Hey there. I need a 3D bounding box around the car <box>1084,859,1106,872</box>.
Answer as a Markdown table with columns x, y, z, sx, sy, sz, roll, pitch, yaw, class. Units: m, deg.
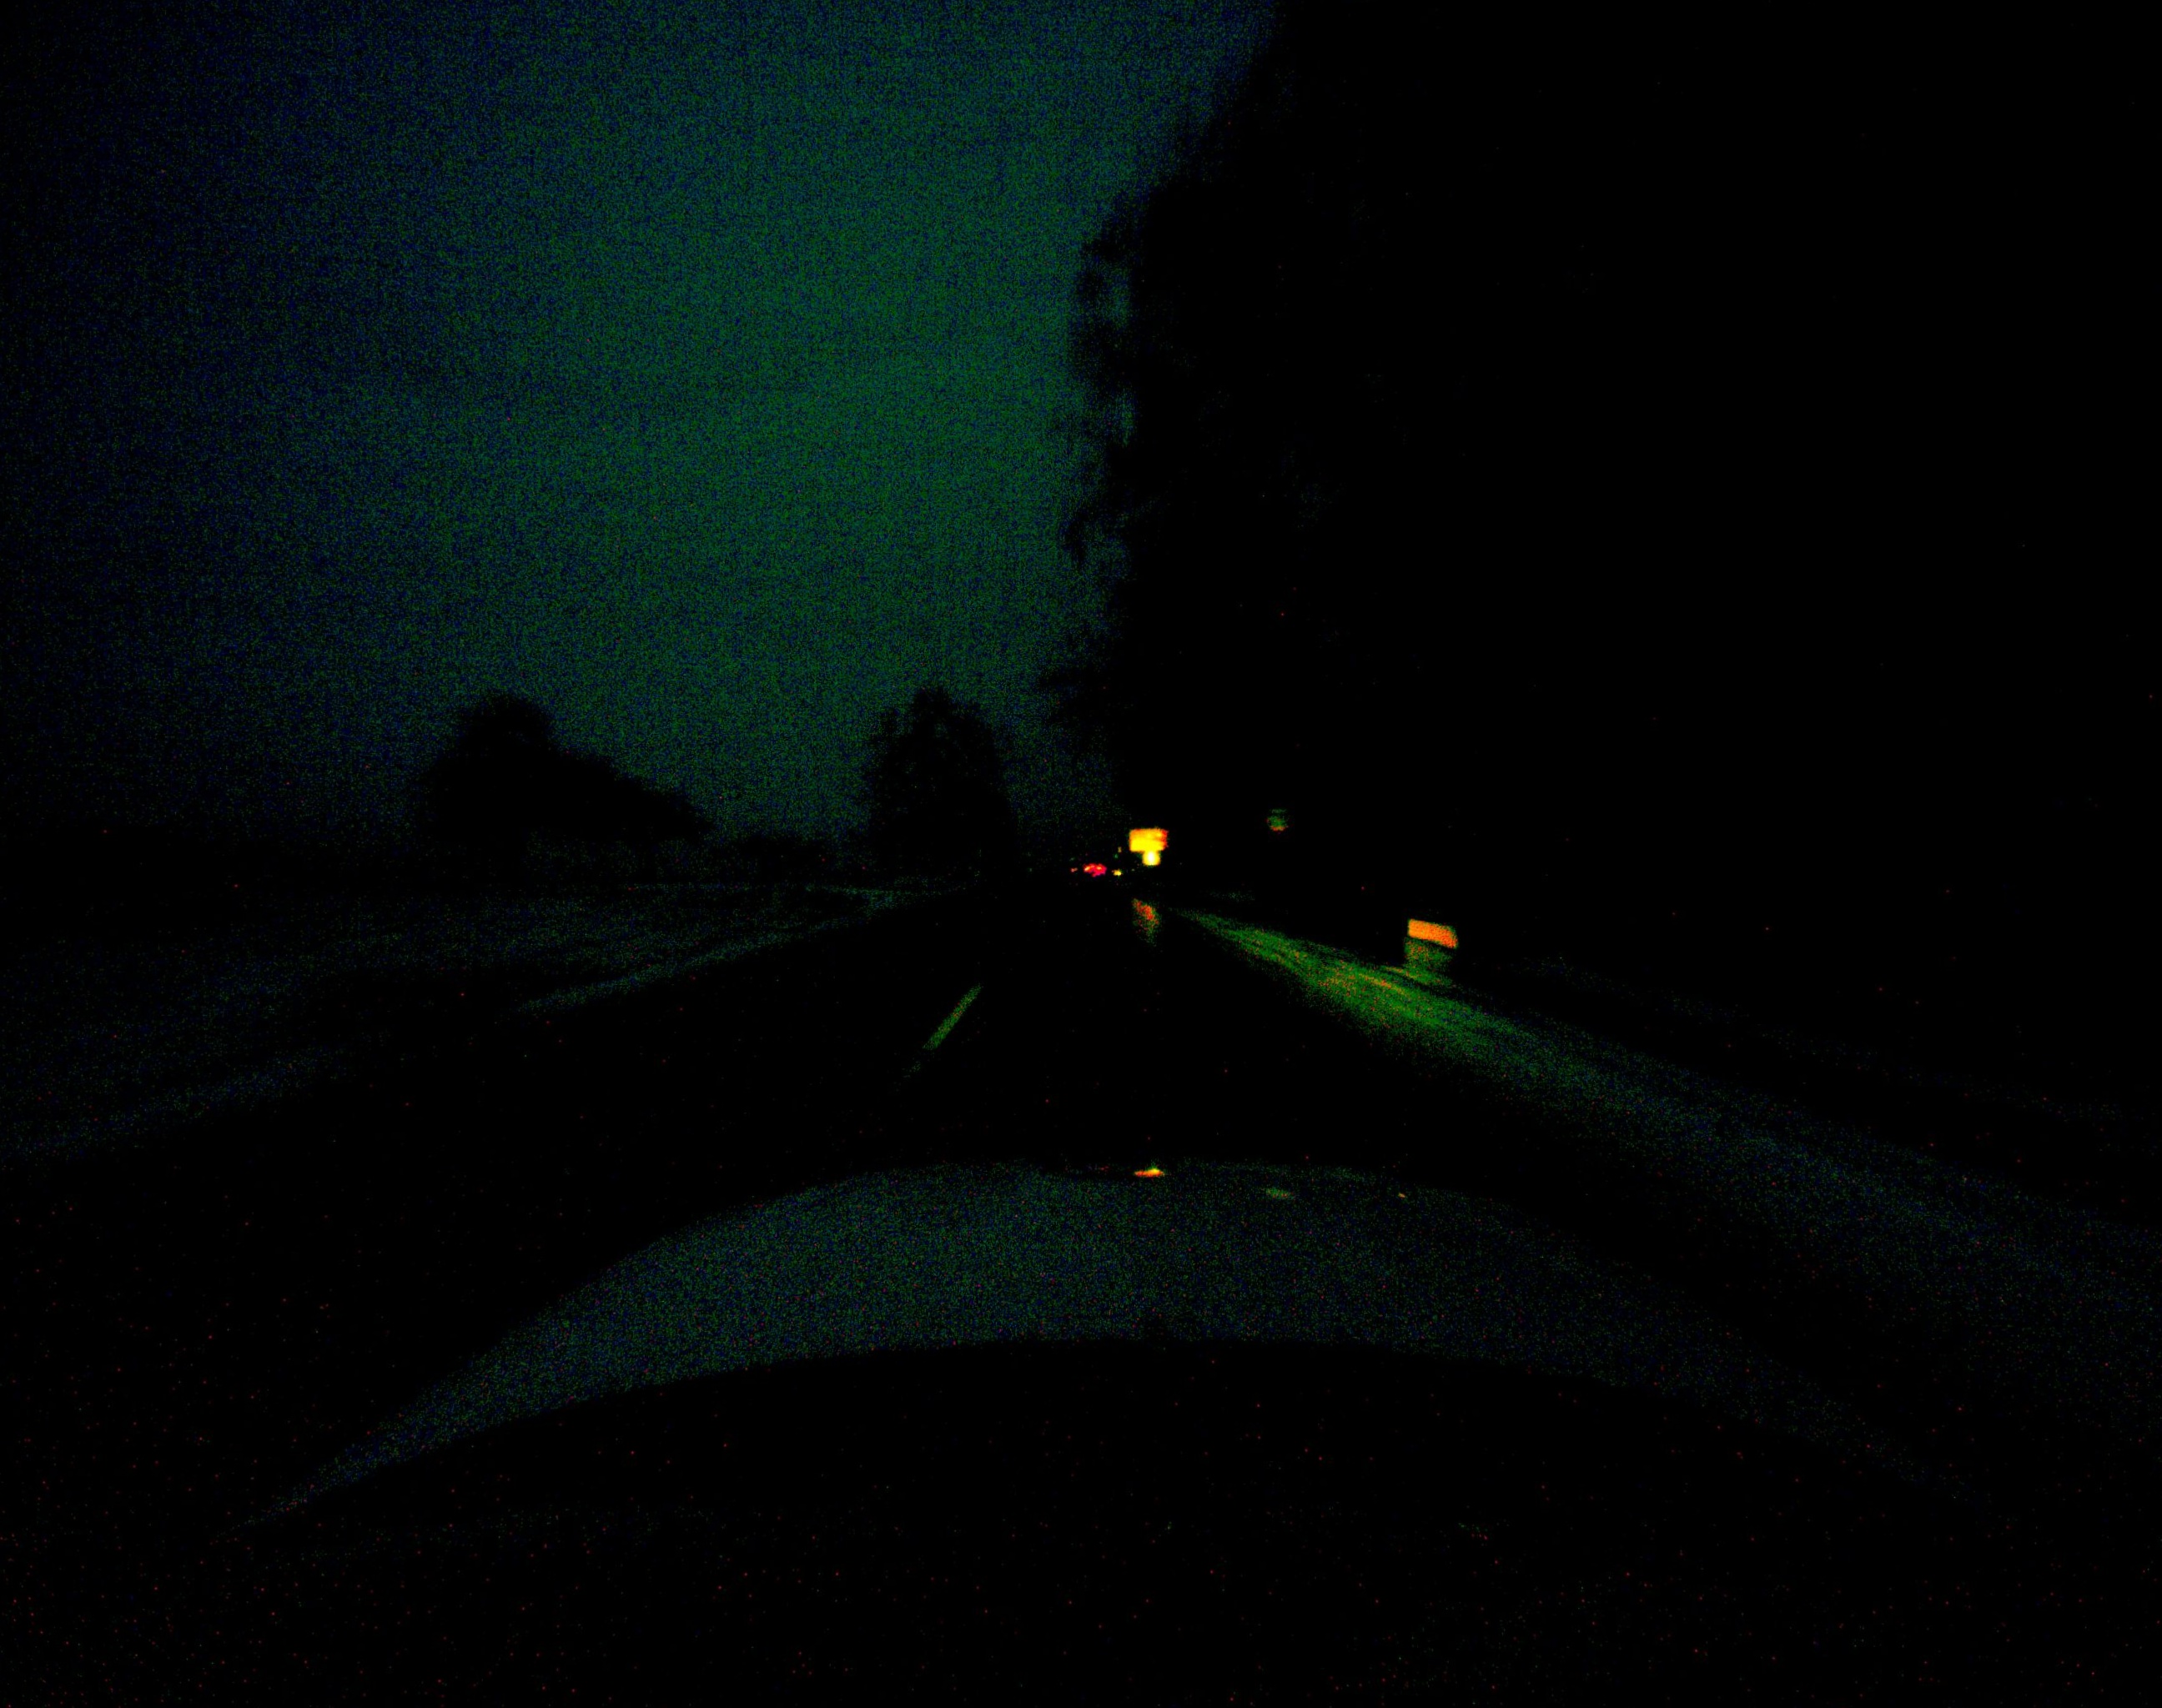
| x | y | z | sx | sy | sz | roll | pitch | yaw | class |
| --- | --- | --- | --- | --- | --- | --- | --- | --- | --- |
| 1.527 | 1.203 | 88.484 | 1.912 | 1.277 | 4.008 | -1 | 0 | 6 | car |
